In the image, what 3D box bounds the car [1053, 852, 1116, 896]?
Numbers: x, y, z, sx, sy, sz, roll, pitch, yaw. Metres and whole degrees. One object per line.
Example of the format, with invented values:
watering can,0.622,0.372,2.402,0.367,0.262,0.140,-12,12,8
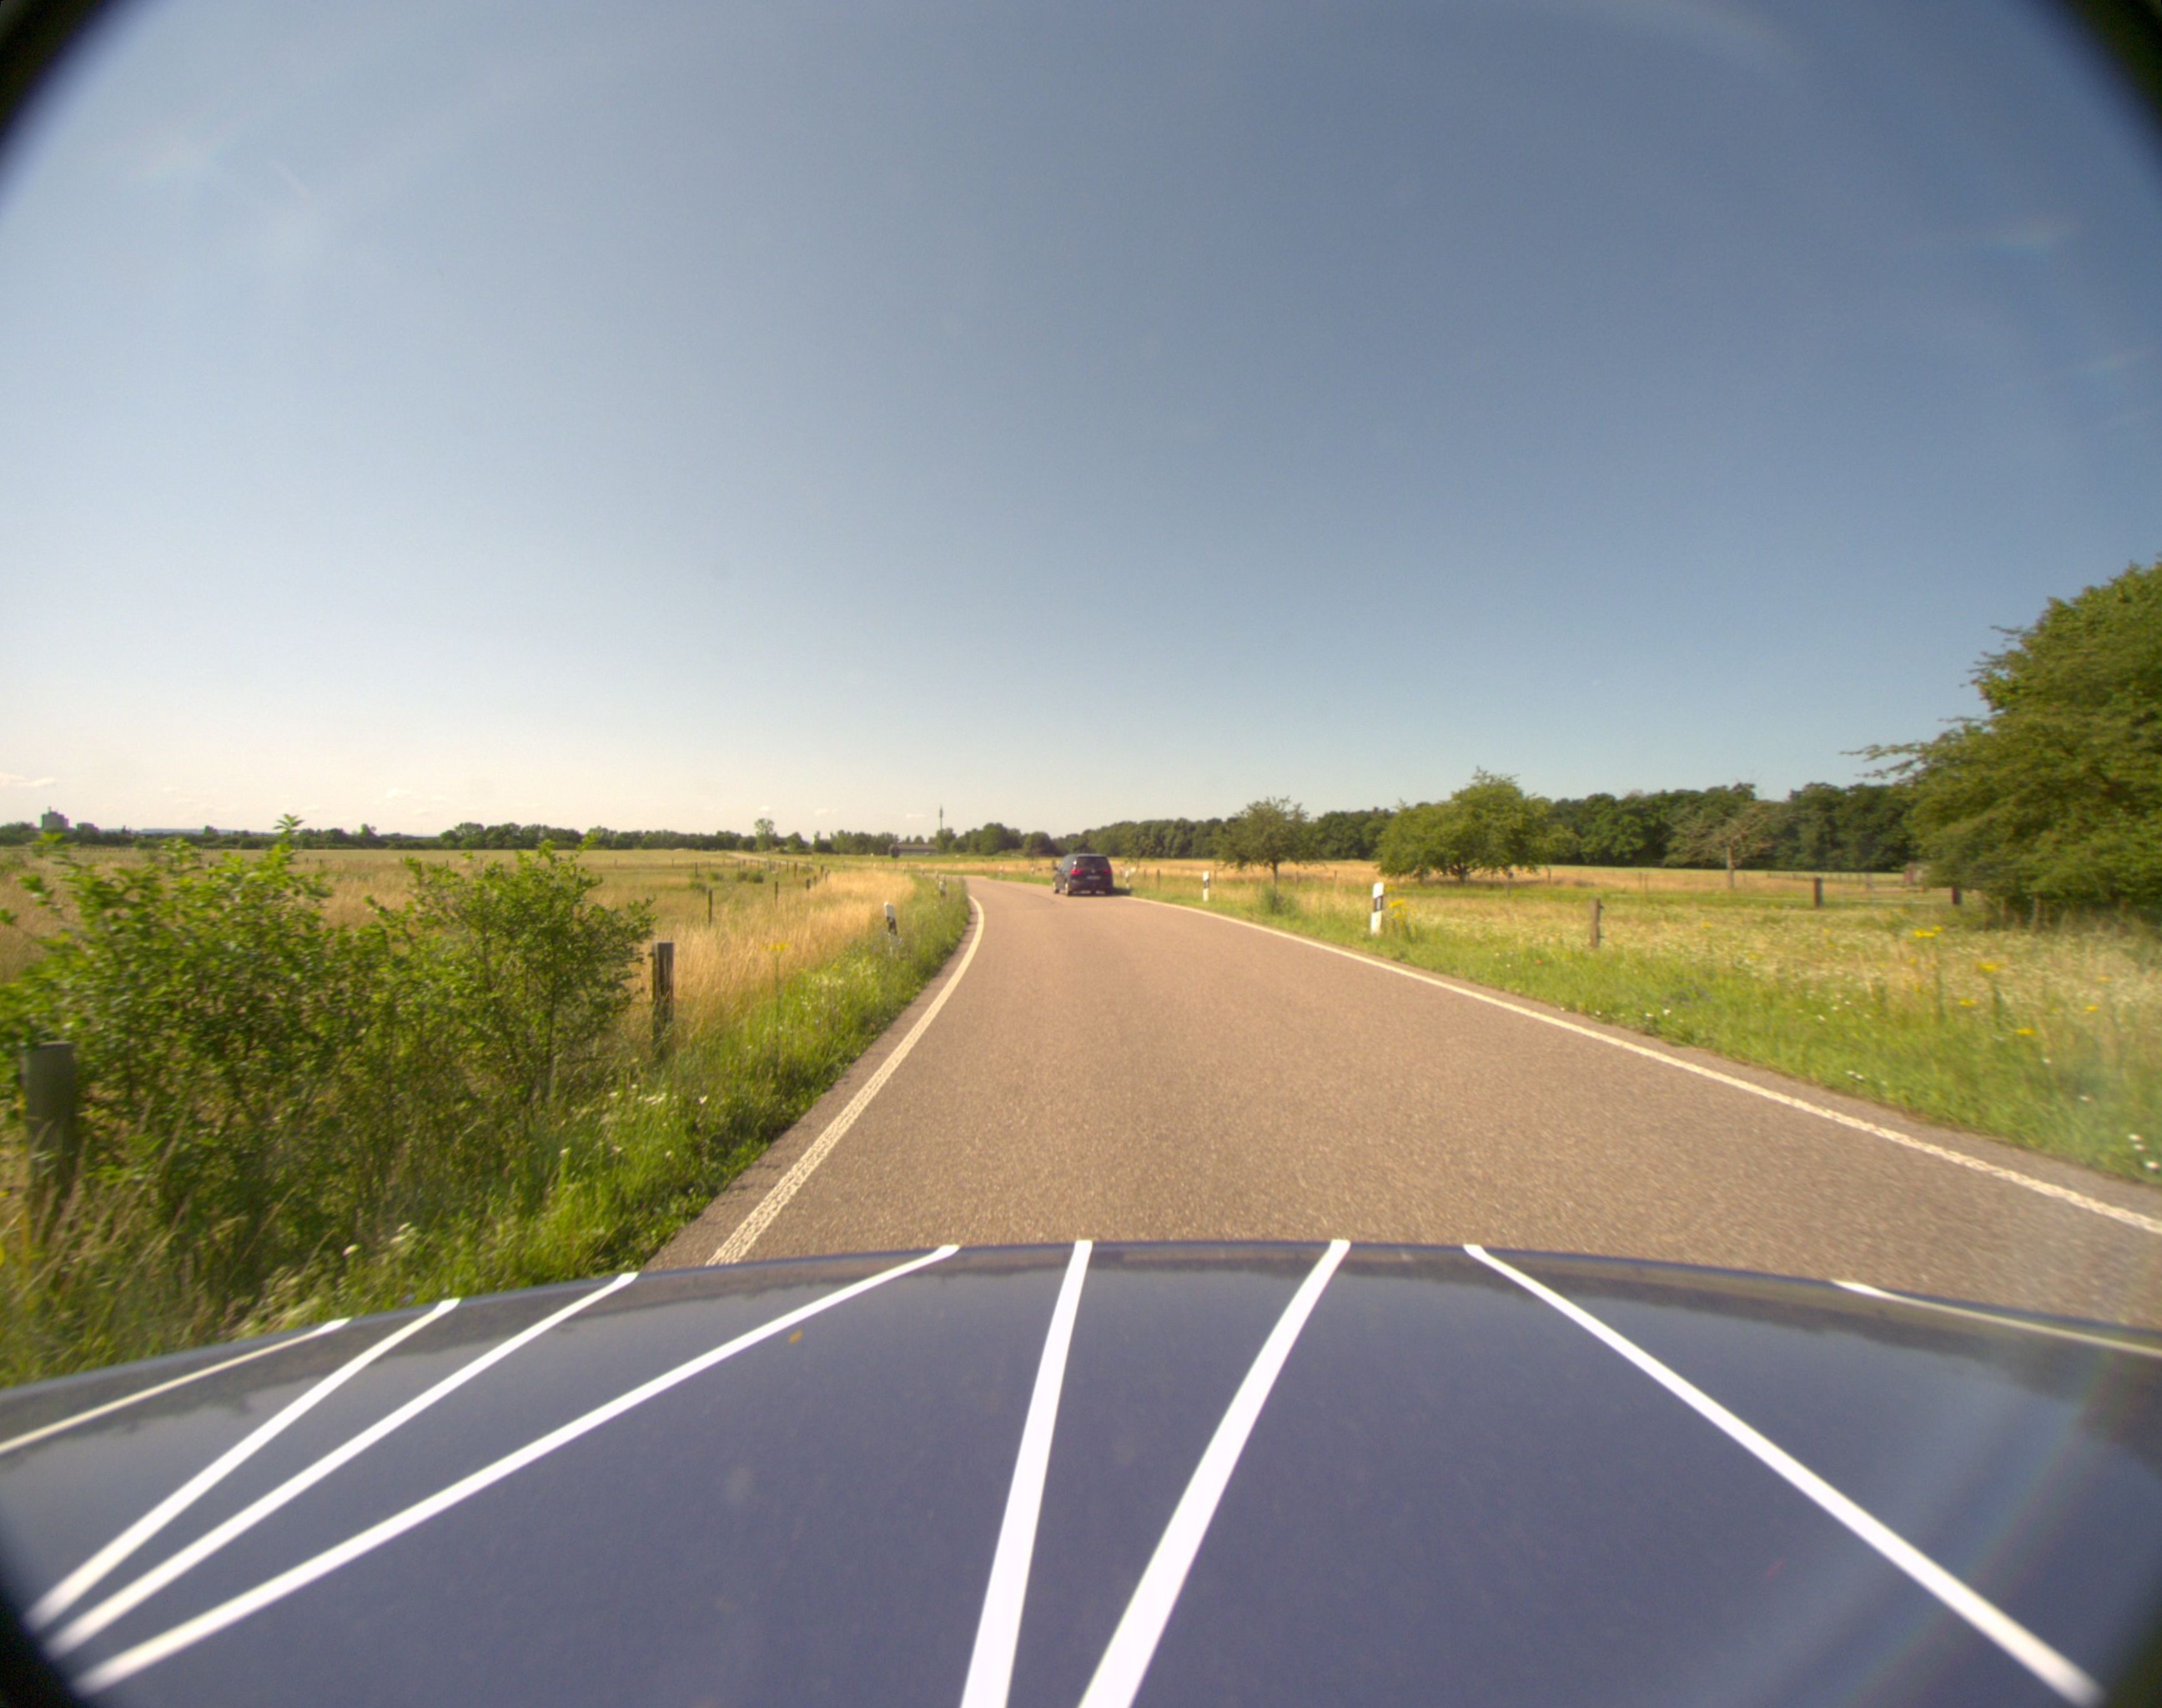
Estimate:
car,0.072,0.775,30.448,1.790,1.622,4.157,-1,-1,-10
